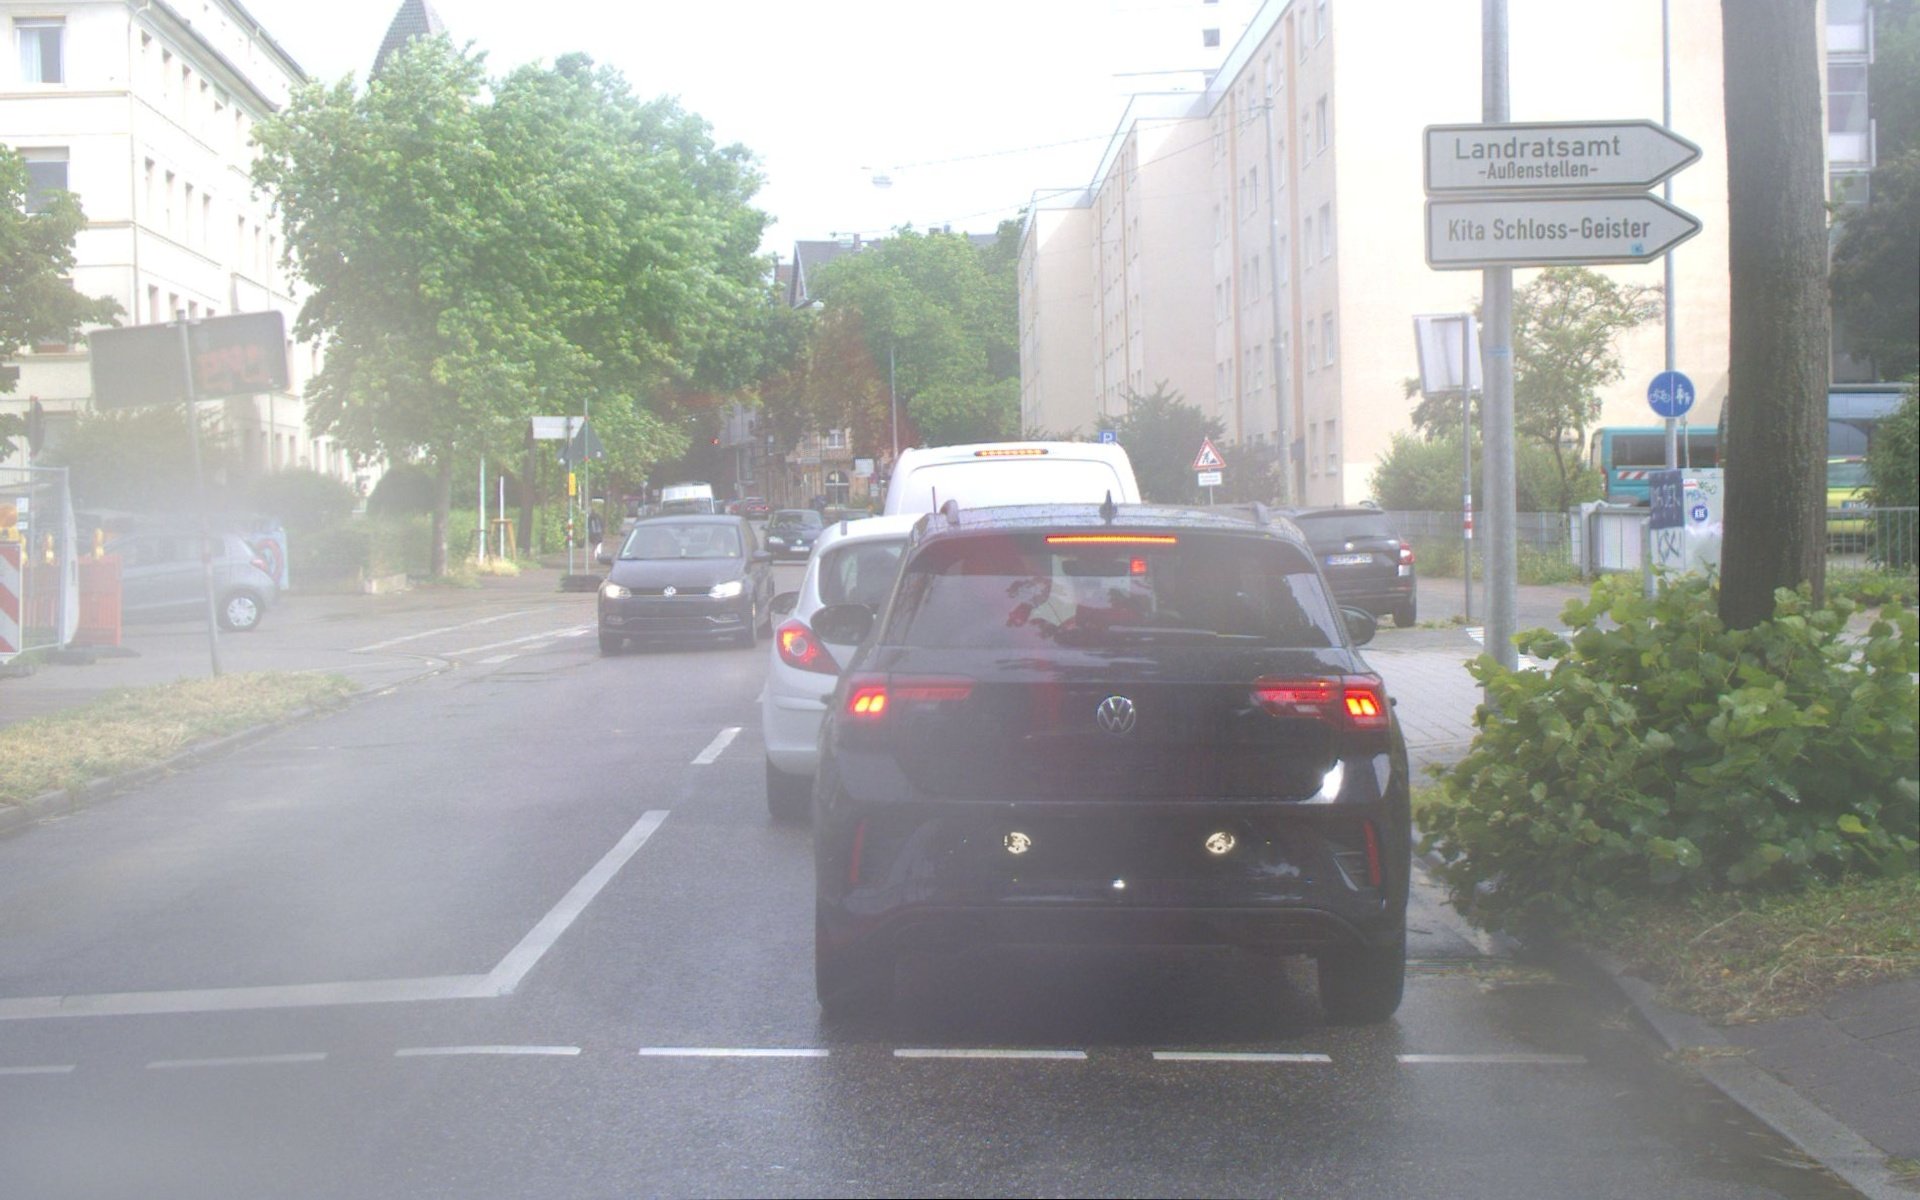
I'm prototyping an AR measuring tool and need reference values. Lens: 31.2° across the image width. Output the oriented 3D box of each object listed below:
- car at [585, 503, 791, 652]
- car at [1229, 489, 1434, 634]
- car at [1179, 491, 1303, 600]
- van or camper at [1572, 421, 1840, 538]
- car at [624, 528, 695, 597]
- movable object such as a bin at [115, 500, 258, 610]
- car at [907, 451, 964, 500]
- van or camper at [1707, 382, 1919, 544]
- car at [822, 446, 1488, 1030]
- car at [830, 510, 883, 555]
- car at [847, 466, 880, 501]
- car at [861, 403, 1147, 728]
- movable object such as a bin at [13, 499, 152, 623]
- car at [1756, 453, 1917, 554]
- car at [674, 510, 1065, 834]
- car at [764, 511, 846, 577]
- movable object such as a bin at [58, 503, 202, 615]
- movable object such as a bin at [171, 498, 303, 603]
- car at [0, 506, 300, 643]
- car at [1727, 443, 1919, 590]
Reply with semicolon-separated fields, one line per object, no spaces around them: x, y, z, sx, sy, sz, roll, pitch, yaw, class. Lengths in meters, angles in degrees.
-2.916;-0.261;37.591;1.813;1.535;3.982;0;1;2;car
4.377;-0.501;41.090;1.774;1.534;4.379;-4;2;-2;car
4.260;-0.802;52.565;1.757;1.522;3.999;2;0;4;car
14.431;-2.347;66.706;4.760;2.124;2.321;-1;2;4;van or camper
-7.112;-0.907;81.534;1.585;1.500;4.065;-3;2;-5;car
-12.478;-0.731;55.488;1.539;1.668;1.664;-1;2;19;movable object such as a bin
-0.842;-4.338;120.419;1.841;1.602;3.675;-3;2;1;car
14.981;-2.237;56.353;4.998;2.545;2.175;-1;1;1;van or camper
0.540;0.357;11.777;1.873;1.640;4.062;0;1;0;car
-3.893;-2.562;130.052;1.740;1.602;3.675;-3;2;1;car
-5.151;-6.210;183.343;1.665;1.831;4.001;-2;2;-2;car
0.343;-0.256;24.364;1.836;2.095;4.000;1;1;2;car
-13.358;-0.599;52.390;1.539;1.818;1.262;-1;2;19;movable object such as a bin
13.413;-1.490;52.769;1.610;1.444;3.417;-2;2;1;car
-0.428;0.307;18.066;1.813;1.498;4.000;1;1;0;car
-4.053;-1.489;90.600;1.841;1.602;4.000;-3;2;1;car
-13.009;-0.650;53.929;1.539;1.650;1.526;-1;2;19;movable object such as a bin
-11.977;-0.832;57.001;1.539;1.656;1.457;-1;2;19;movable object such as a bin
-11.364;-0.346;47.890;3.986;1.631;1.896;-4;0;-17;car
11.150;-1.092;44.038;1.804;1.744;4.238;-2;2;2;car
